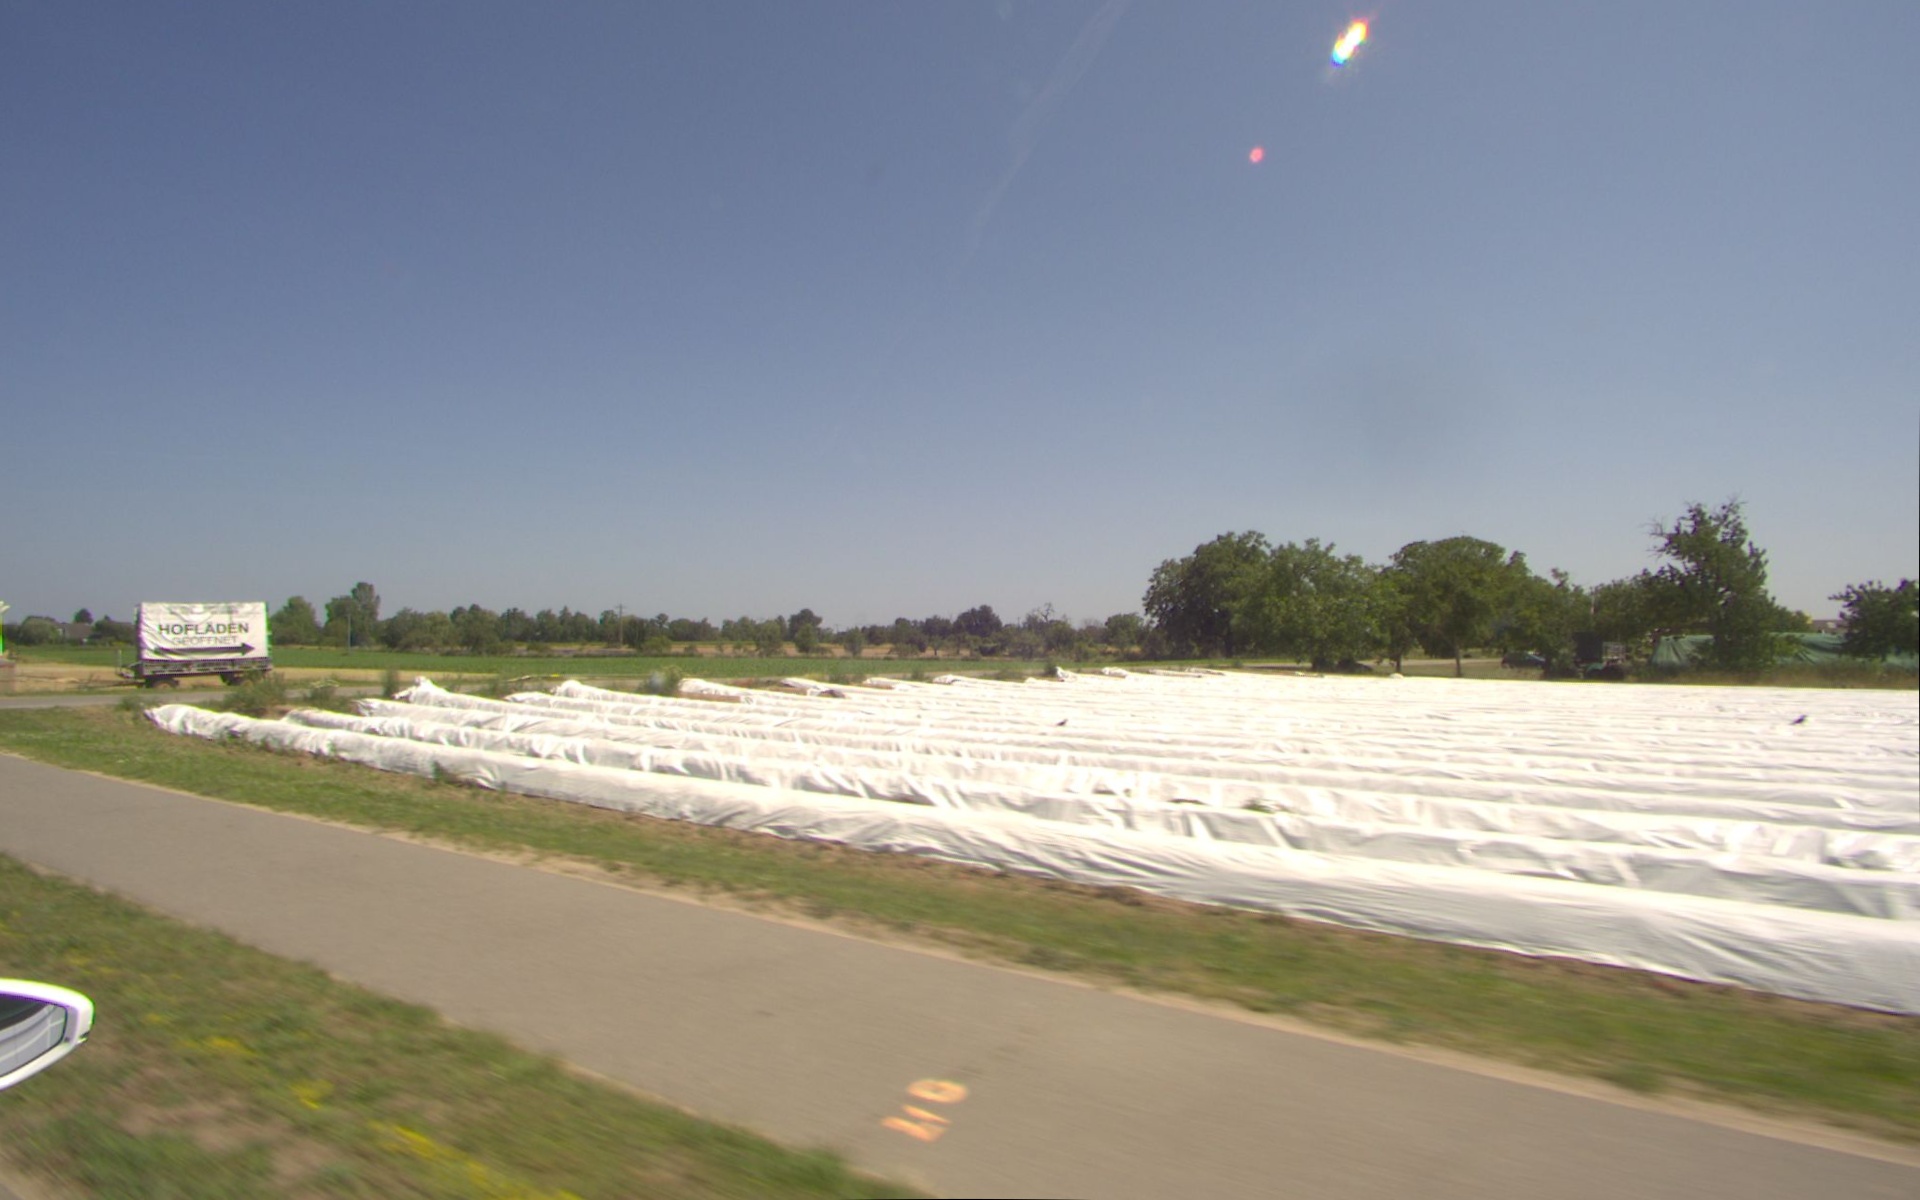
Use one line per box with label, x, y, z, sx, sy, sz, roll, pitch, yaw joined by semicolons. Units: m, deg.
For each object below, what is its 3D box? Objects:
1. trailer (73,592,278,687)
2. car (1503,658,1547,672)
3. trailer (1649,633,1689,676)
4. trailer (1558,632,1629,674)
trailer;-26.633;1.359;34.177;1.978;2.988;5.253;-3;-3;41
car;49.843;5.722;88.327;3.239;1.213;1.288;-1;-3;38
trailer;73.594;5.673;104.040;3.115;4.273;7.402;-1;-4;34
trailer;53.538;4.499;84.539;7.369;3.334;3.230;3;-4;-43
